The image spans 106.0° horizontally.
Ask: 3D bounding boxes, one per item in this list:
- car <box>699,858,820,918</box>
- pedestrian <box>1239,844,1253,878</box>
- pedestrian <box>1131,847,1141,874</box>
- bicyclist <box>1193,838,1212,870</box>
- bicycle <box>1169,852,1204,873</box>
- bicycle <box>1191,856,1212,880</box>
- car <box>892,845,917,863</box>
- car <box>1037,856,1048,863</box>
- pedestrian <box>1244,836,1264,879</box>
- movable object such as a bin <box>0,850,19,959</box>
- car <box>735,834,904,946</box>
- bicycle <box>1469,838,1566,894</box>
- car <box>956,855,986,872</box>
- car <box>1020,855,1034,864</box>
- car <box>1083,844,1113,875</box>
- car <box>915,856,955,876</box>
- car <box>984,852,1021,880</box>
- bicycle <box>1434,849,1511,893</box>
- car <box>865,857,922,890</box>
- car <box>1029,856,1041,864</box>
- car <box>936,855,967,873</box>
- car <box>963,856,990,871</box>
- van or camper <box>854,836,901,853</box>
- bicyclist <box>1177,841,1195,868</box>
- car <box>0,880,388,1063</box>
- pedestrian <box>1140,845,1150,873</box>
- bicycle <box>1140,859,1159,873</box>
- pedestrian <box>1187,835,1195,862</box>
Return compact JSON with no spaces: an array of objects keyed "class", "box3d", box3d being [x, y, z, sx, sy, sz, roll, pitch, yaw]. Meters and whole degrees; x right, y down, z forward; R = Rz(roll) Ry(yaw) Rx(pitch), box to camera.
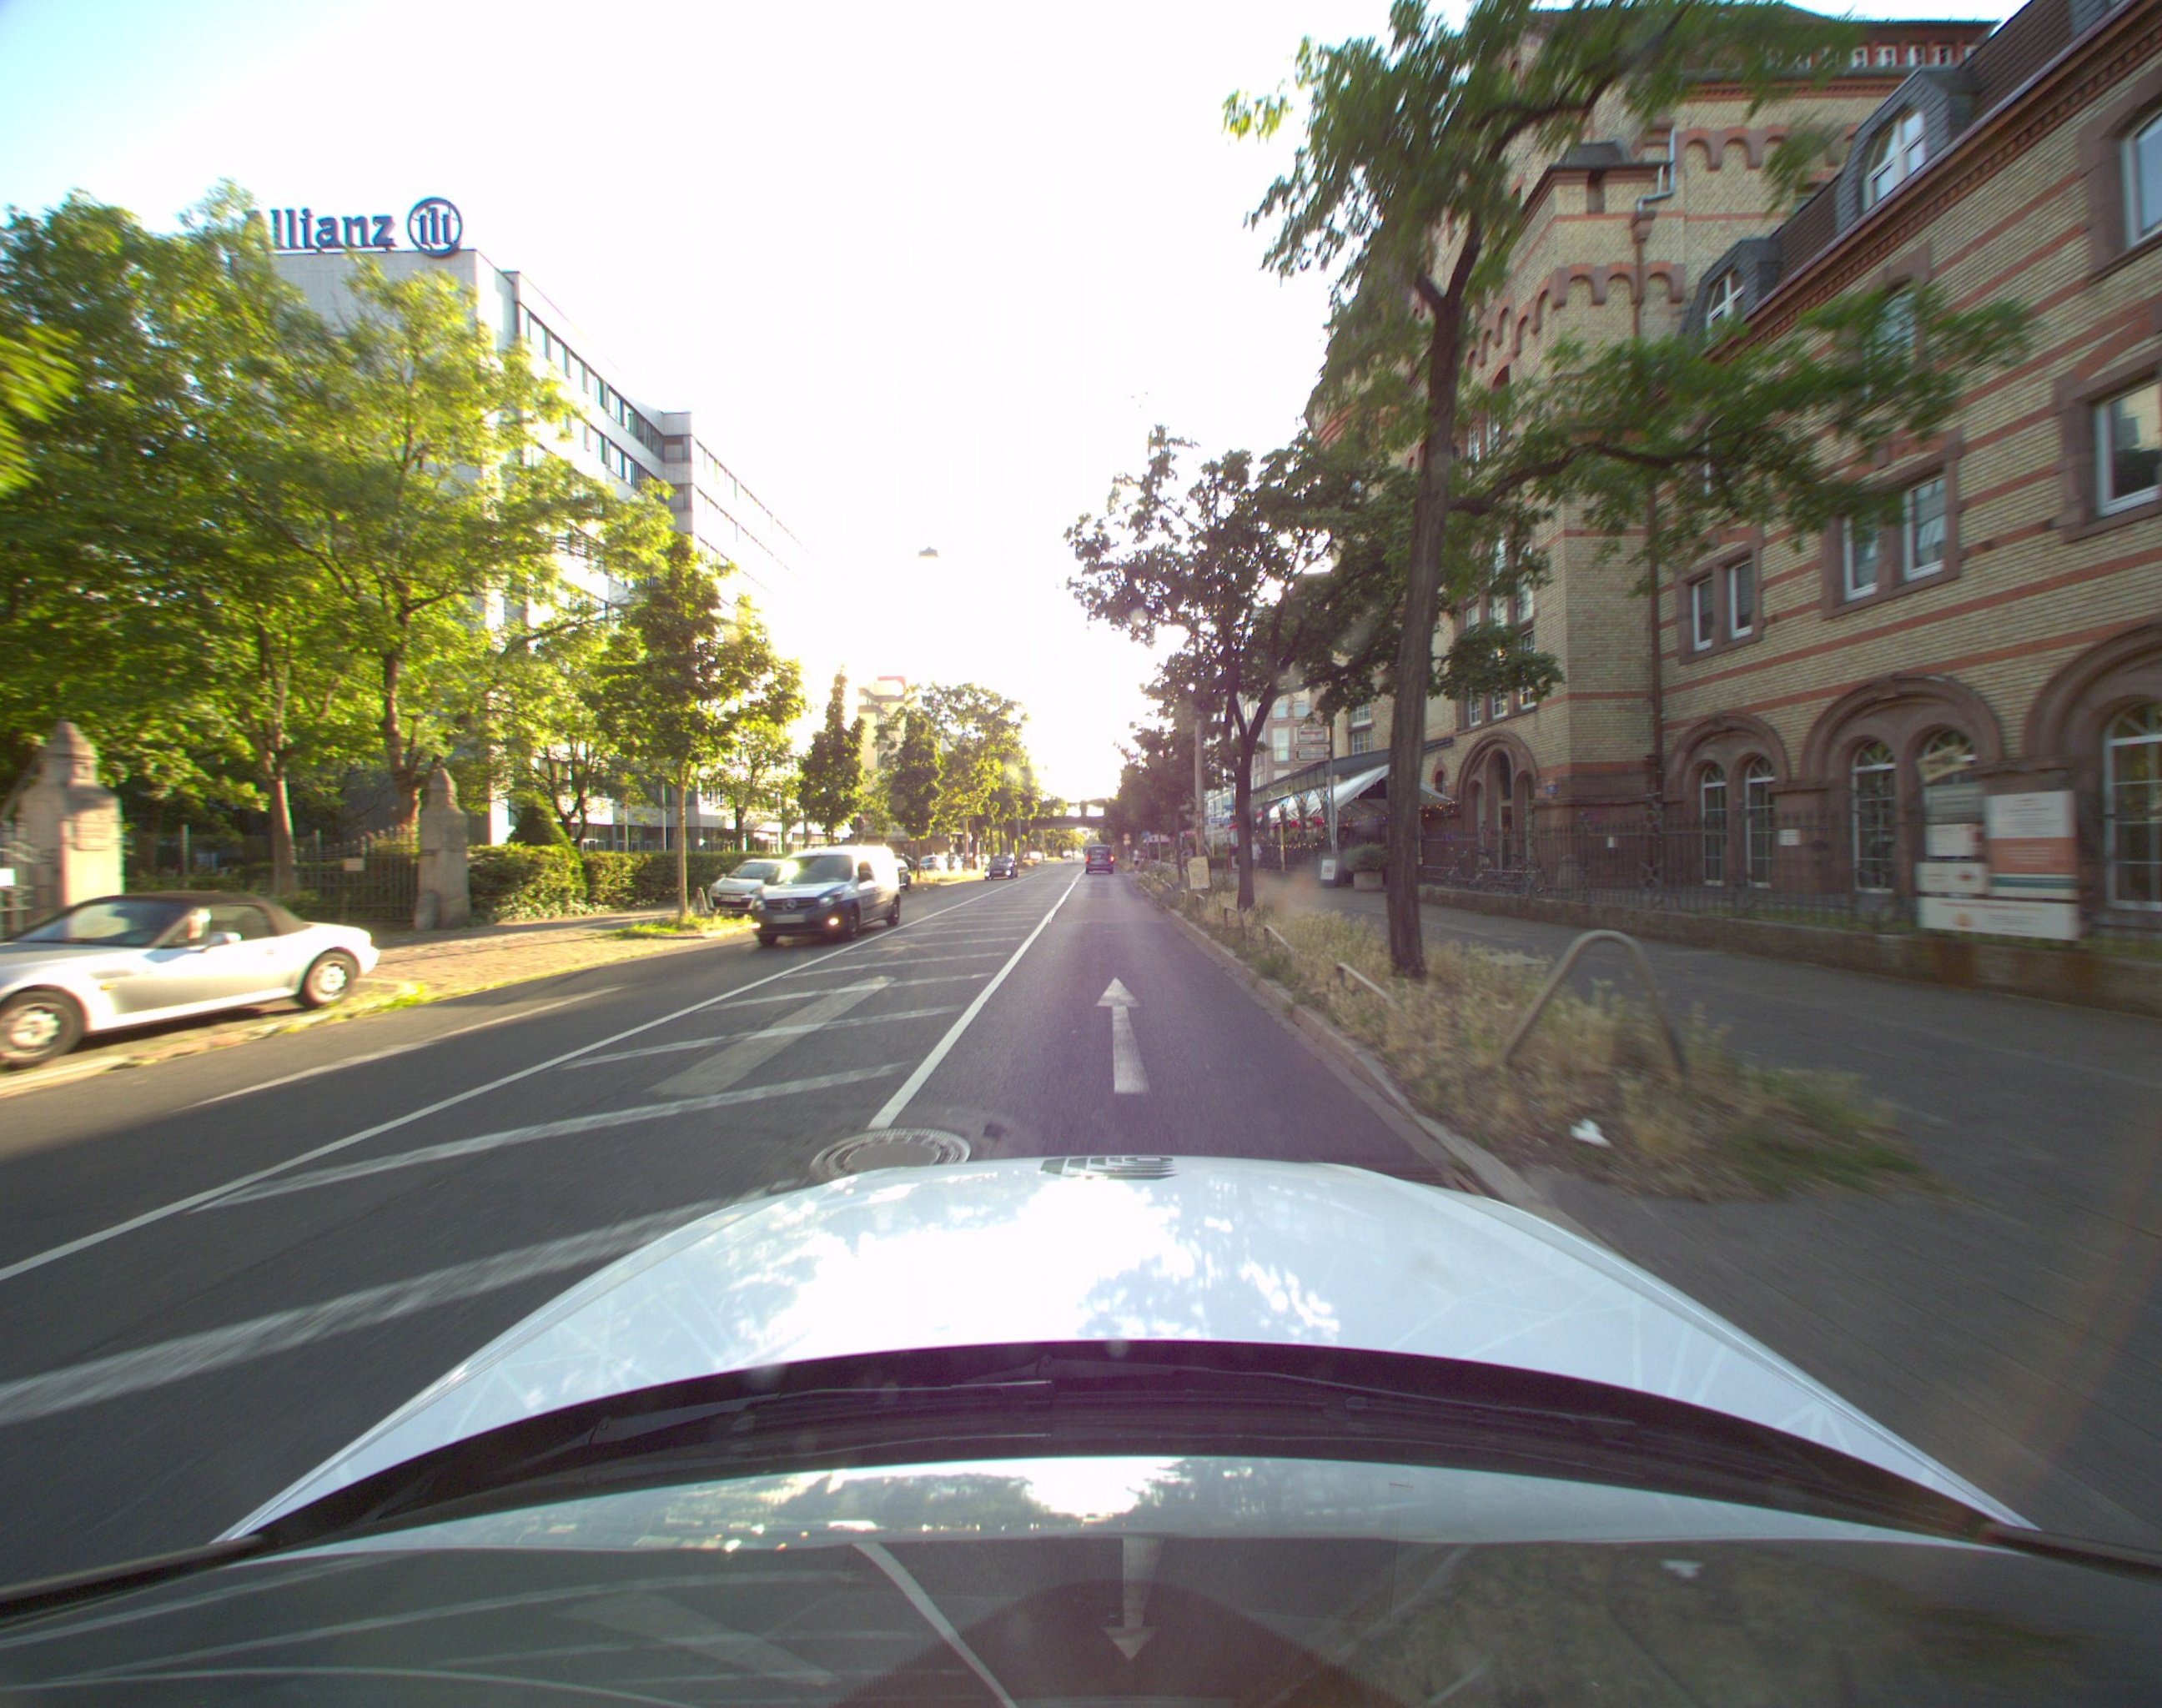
[{"class":"car","box3d":[-8.635,0.844,22.261,1.691,1.451,4.000,0,0,0]},{"class":"pedestrian","box3d":[6.647,0.277,32.850,0.465,1.350,0.530,0,0,1]},{"class":"pedestrian","box3d":[3.804,0.441,56.396,0.505,1.888,0.543,0,0,-14]},{"class":"bicyclist","box3d":[4.869,-0.009,32.704,0.583,1.236,1.112,0,0,1]},{"class":"bicycle","box3d":[6.145,0.506,47.465,1.977,1.226,0.547,0,0,-5]},{"class":"bicycle","box3d":[4.839,0.553,32.748,0.577,0.897,1.988,0,0,2]},{"class":"car","box3d":[-22.931,0.016,106.219,1.986,2.307,5.246,0,0,1]},{"class":"car","box3d":[-7.874,1.132,166.098,1.986,1.414,4.238,0,0,1]},{"class":"pedestrian","box3d":[6.633,0.141,31.251,0.642,1.633,0.656,0,0,1]},{"class":"movable object such as a bin","box3d":[-14.730,0.582,9.838,1.934,1.378,1.328,4,0,0]},{"class":"car","box3d":[-5.005,0.619,16.301,1.827,1.852,4.473,-2,0,0]},{"class":"bicycle","box3d":[9.011,0.240,16.837,1.727,1.137,0.493,0,0,2]},{"class":"car","box3d":[-9.925,0.851,73.604,1.986,1.414,4.238,0,0,1]},{"class":"car","box3d":[-8.912,0.845,134.073,1.986,1.414,4.238,0,0,1]},{"class":"car","box3d":[1.174,0.335,55.142,1.880,1.925,3.841,-2,0,2]},{"class":"car","box3d":[-10.031,0.810,56.238,1.986,1.310,4.067,0,0,1]},{"class":"car","box3d":[-4.723,0.710,49.585,1.673,1.530,4.001,-3,0,1]},{"class":"bicycle","box3d":[8.641,0.369,18.012,1.439,0.946,0.535,0,0,2]},{"class":"car","box3d":[-8.387,0.846,36.797,1.632,1.385,4.000,0,0,0]},{"class":"car","box3d":[-8.338,1.013,147.984,1.986,1.414,4.238,0,0,1]},{"class":"car","box3d":[-9.982,0.732,63.152,1.665,1.314,3.966,0,0,1]},{"class":"car","box3d":[-10.134,0.919,79.596,1.986,1.414,4.238,0,0,1]},{"class":"van or camper","box3d":[-30.913,-1.369,123.985,6.543,2.522,2.448,0,0,-1]},{"class":"bicyclist","box3d":[6.118,0.049,47.462,0.933,1.558,0.545,0,0,-5]},{"class":"car","box3d":[-8.893,0.943,7.713,1.531,1.248,3.614,0,0,0]},{"class":"pedestrian","box3d":[4.408,0.346,55.965,0.505,1.888,0.543,0,0,-14]},{"class":"bicycle","box3d":[4.785,0.835,56.805,0.590,0.897,1.975,0,0,-18]},{"class":"pedestrian","box3d":[10.632,-0.533,78.867,0.713,2.539,0.824,0,0,1]}]
